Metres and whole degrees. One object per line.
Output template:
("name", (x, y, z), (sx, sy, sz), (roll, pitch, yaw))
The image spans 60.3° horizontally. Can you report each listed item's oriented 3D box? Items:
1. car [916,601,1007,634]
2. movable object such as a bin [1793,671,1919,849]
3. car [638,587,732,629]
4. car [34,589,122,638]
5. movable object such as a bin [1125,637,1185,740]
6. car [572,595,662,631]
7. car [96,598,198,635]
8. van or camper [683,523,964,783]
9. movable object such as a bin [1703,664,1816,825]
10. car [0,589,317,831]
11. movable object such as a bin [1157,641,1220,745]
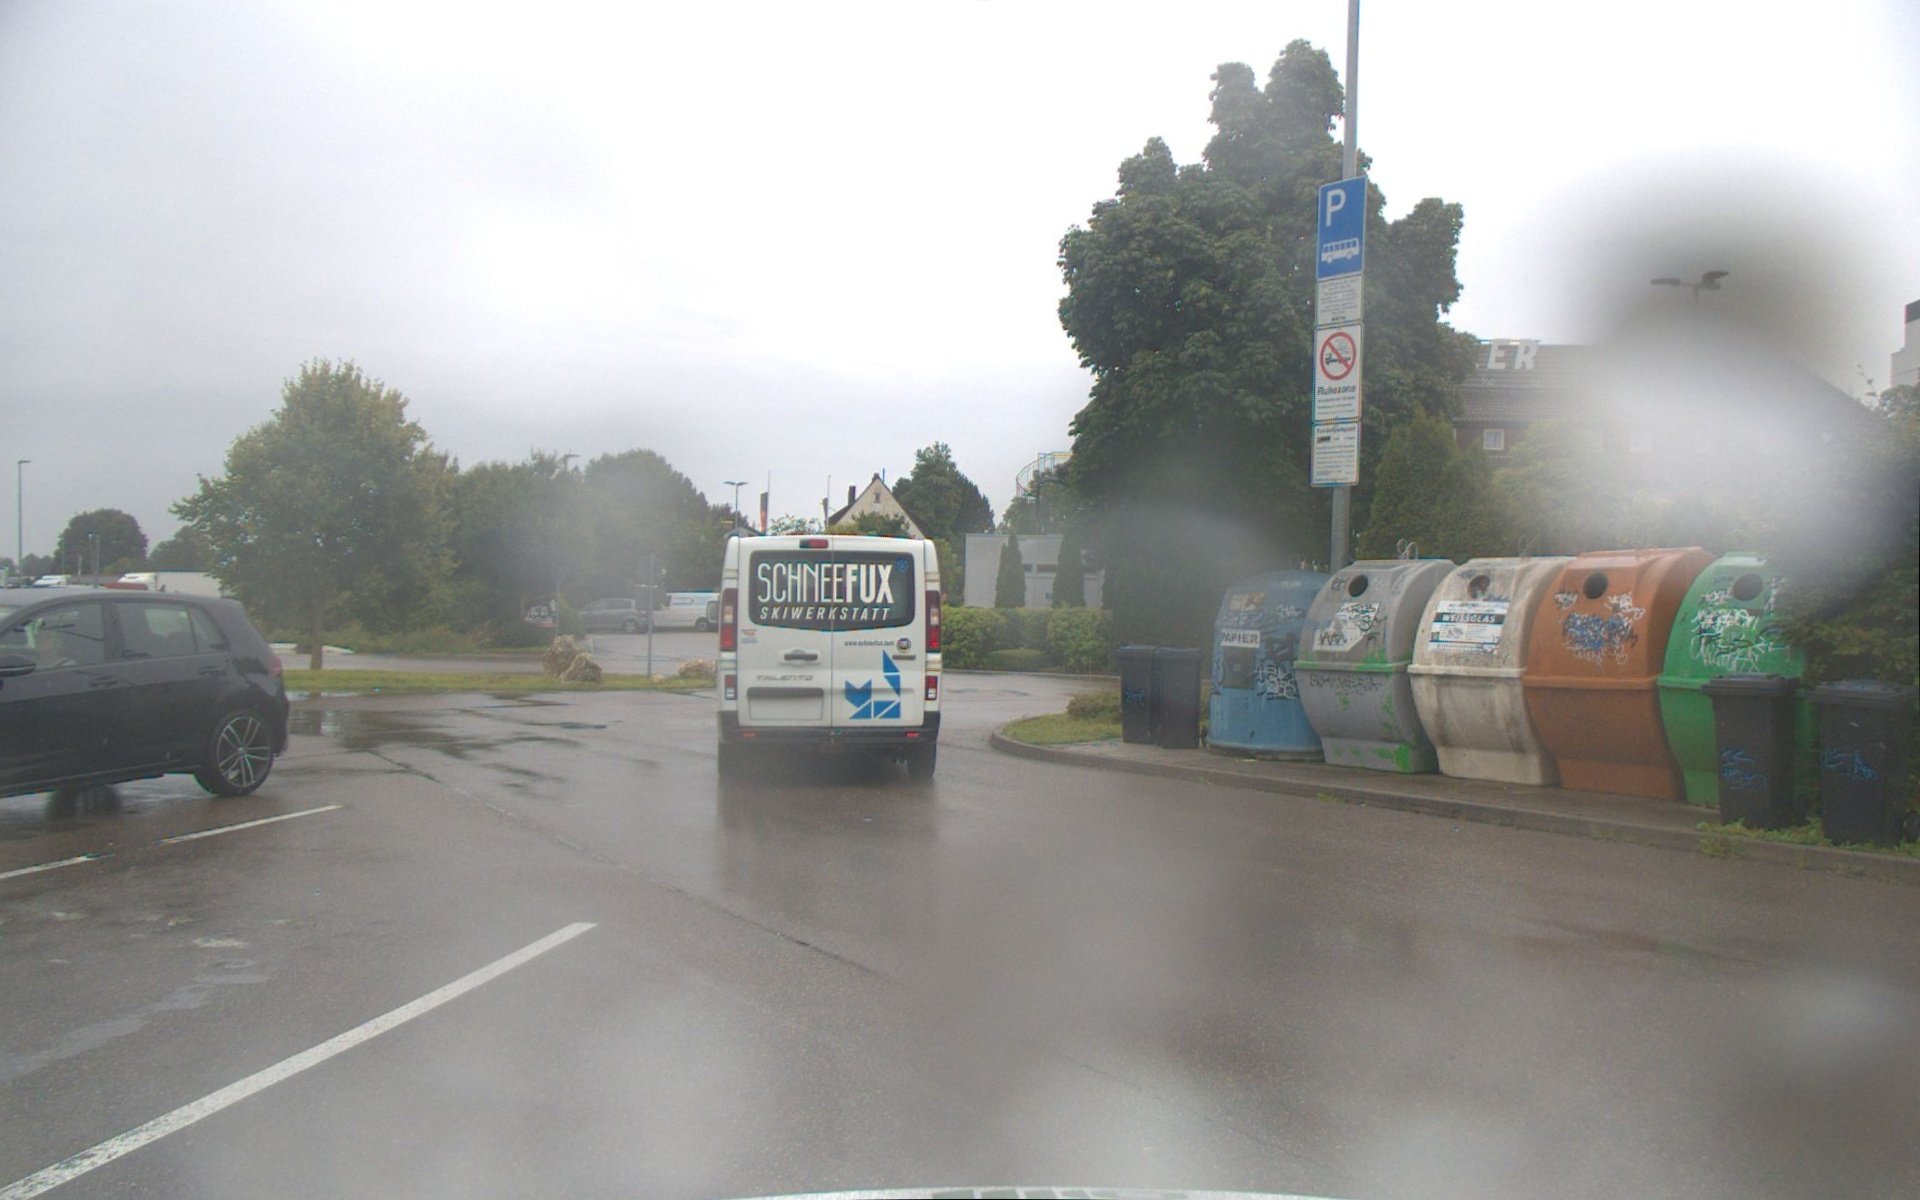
("car", (0.088, 0.820, 77.898), (4.086, 1.524, 1.719), (0, 0, 7))
("movable object such as a bin", (5.114, 0.881, 9.256), (0.615, 0.936, 0.557), (0, 0, -1))
("car", (-13.948, 0.394, 84.013), (4.424, 2.069, 1.646), (0, 0, 7))
("car", (-34.995, 0.513, 65.750), (1.959, 1.906, 4.628), (0, 0, -14))
("movable object such as a bin", (1.863, 0.838, 15.846), (0.440, 0.955, 0.487), (0, 0, -12))
("car", (-15.394, 0.554, 74.229), (3.652, 1.578, 1.452), (0, 0, 7))
("car", (-40.969, 0.843, 83.419), (1.715, 1.789, 4.347), (-1, -1, 38))
("van or camper", (-1.242, 0.427, 15.286), (2.145, 1.979, 5.192), (0, 0, -5))
("movable object such as a bin", (4.862, 0.871, 10.076), (0.483, 0.936, 0.416), (0, 0, -1))
("car", (-6.379, 0.657, 10.856), (1.737, 1.458, 4.078), (0, 0, 21))
("movable object such as a bin", (2.118, 0.854, 15.357), (0.440, 0.933, 0.487), (0, 0, -12))
